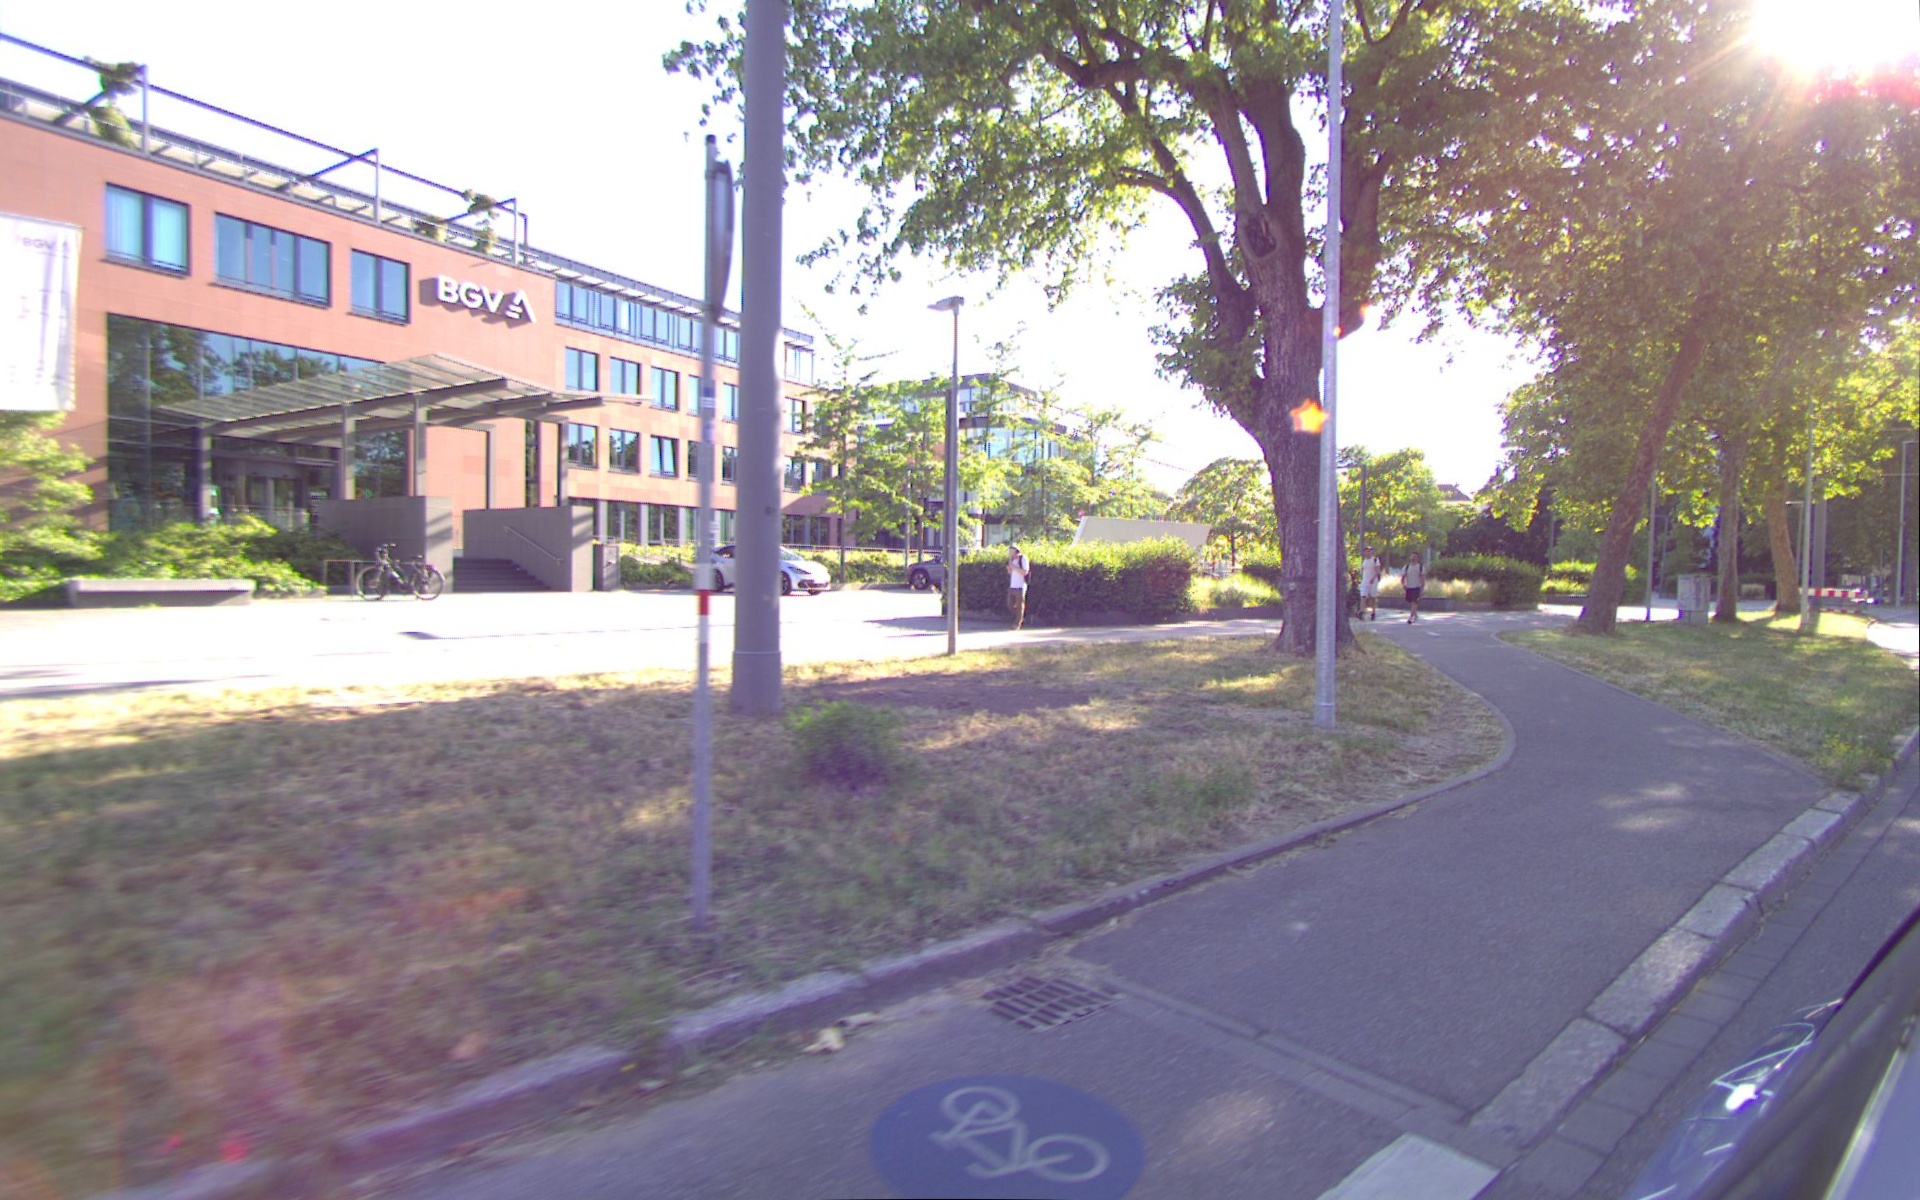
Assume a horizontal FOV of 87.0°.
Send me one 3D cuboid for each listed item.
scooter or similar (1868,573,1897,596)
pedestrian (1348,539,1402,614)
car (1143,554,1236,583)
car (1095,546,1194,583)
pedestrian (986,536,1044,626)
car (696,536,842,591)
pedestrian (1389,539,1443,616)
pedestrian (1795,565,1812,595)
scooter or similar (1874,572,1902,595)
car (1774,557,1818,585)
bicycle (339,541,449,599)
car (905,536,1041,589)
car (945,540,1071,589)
[{"bbox_3d":[52.827,-0.874,57.952,0.826,1.259,1.055,-1,3,-39],"label":"scooter or similar"},{"bbox_3d":[10.367,-0.606,25.279,1.090,1.815,0.807,-1,3,-41],"label":"pedestrian"},{"bbox_3d":[12.738,-1.778,56.145,4.648,1.503,2.050,2,2,31],"label":"car"},{"bbox_3d":[9.584,-1.863,52.700,4.649,1.734,2.050,4,2,30],"label":"car"},{"bbox_3d":[0.981,-0.357,18.153,0.770,1.558,0.651,-1,3,-41],"label":"pedestrian"},{"bbox_3d":[-5.915,-1.140,31.267,4.137,1.525,1.980,3,2,29],"label":"car"},{"bbox_3d":[11.031,-0.550,24.481,1.067,1.815,0.752,-1,3,-41],"label":"pedestrian"},{"bbox_3d":[48.983,-1.166,58.768,0.727,1.676,0.629,-1,3,-41],"label":"pedestrian"},{"bbox_3d":[53.579,-0.953,58.421,0.826,1.259,1.055,-1,3,-39],"label":"scooter or similar"},{"bbox_3d":[78.003,-2.720,94.442,6.233,2.530,1.998,-1,0,-39],"label":"car"},{"bbox_3d":[-11.939,-0.643,21.372,1.896,1.170,0.822,-1,3,-42],"label":"bicycle"},{"bbox_3d":[0.454,-1.378,37.098,4.645,1.734,1.830,3,2,29],"label":"car"},{"bbox_3d":[1.893,-1.436,40.153,4.645,1.734,1.830,3,2,29],"label":"car"}]
